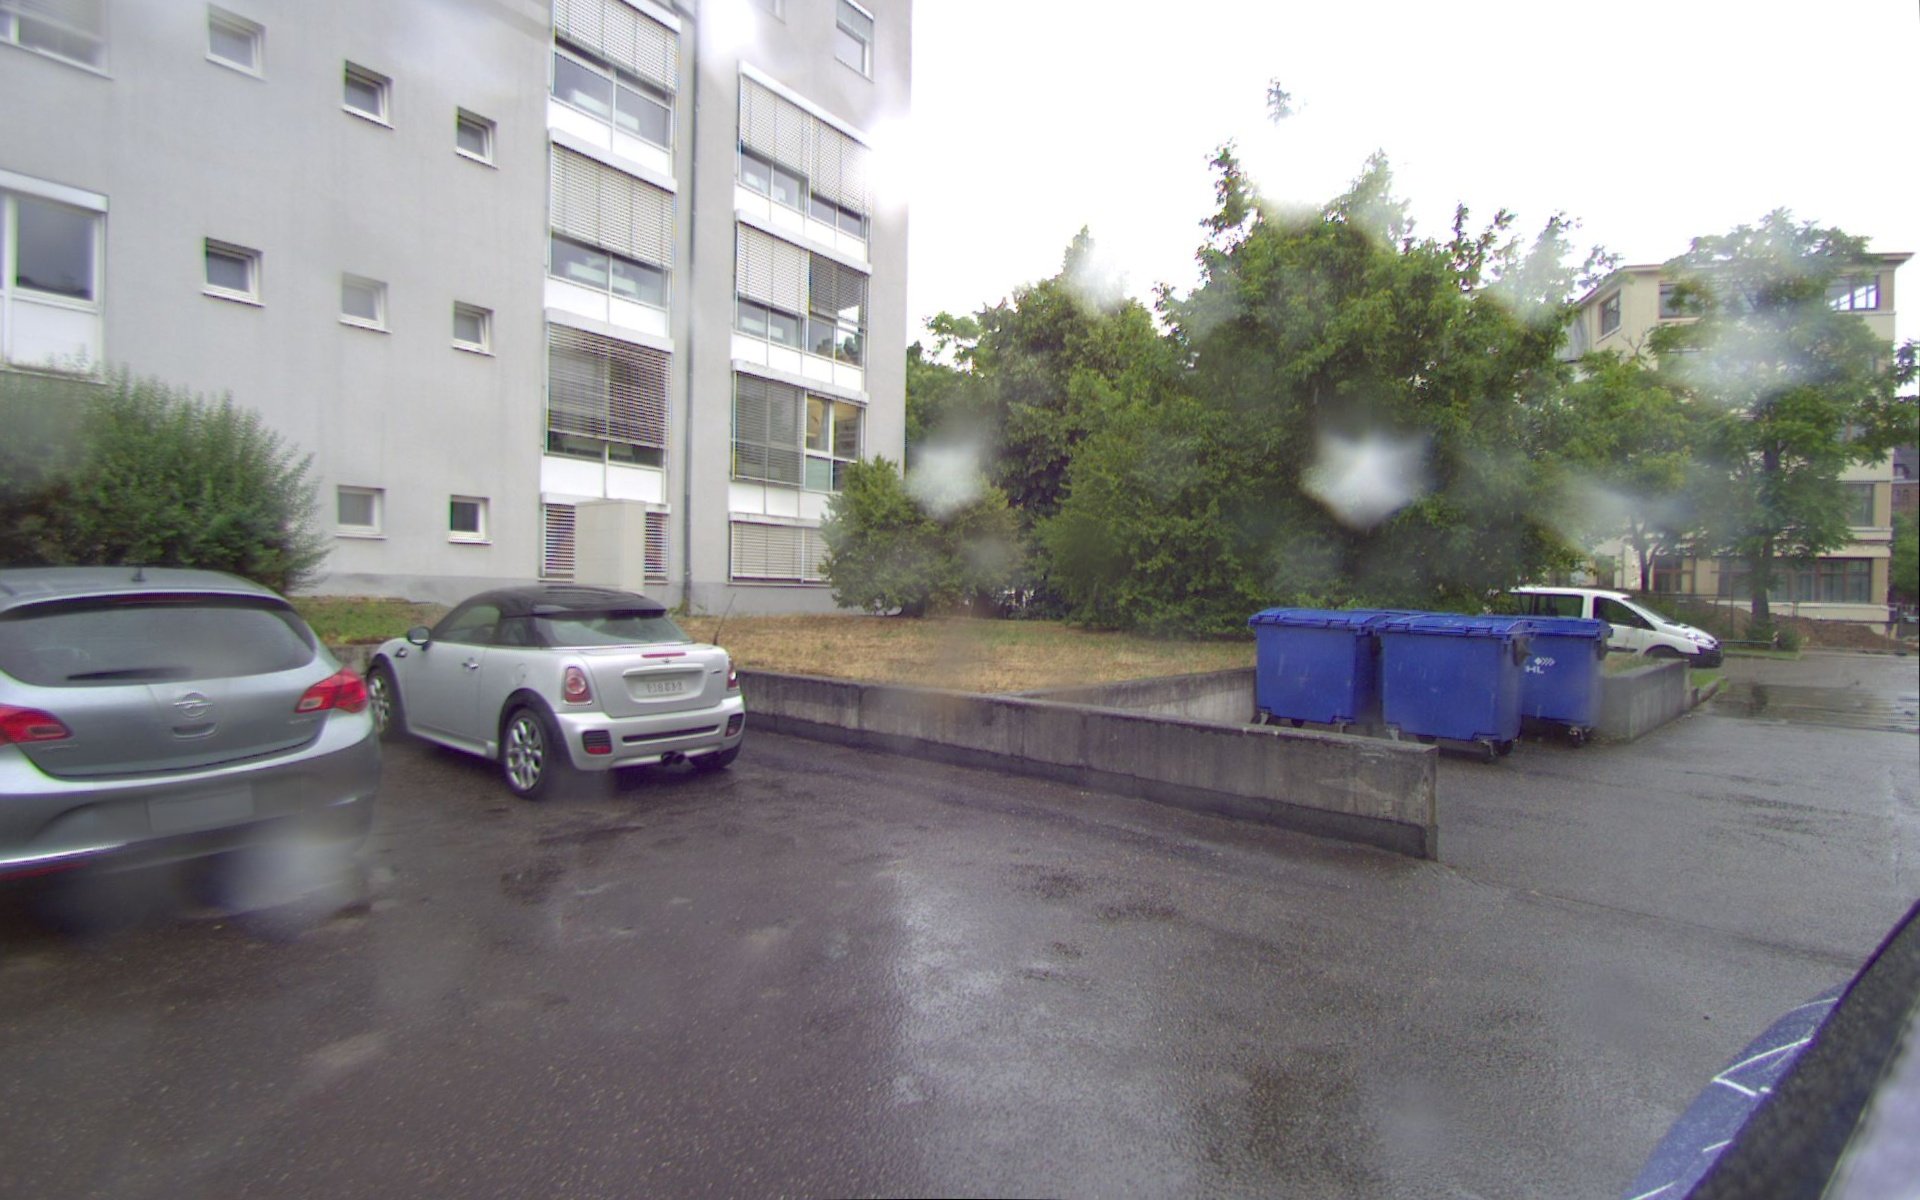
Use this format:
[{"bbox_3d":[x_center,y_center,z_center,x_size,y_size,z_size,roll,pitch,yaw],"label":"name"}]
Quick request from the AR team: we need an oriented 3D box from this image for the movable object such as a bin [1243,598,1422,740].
[{"bbox_3d":[4.061,0.704,10.942,1.228,1.375,1.941,0,-2,41],"label":"movable object such as a bin"}]

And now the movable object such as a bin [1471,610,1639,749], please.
[{"bbox_3d":[6.612,0.826,11.202,1.308,1.375,1.876,0,-2,41],"label":"movable object such as a bin"}]

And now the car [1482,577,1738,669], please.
[{"bbox_3d":[14.920,0.530,23.391,4.681,1.906,2.089,0,-3,44],"label":"car"}]

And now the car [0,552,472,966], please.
[{"bbox_3d":[-4.706,0.548,5.571,4.198,1.508,1.973,1,0,38],"label":"car"}]

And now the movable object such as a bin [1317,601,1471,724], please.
[{"bbox_3d":[5.358,0.732,12.424,1.228,1.375,1.941,0,-2,41],"label":"movable object such as a bin"}]

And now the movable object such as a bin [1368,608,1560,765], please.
[{"bbox_3d":[5.046,0.798,10.070,1.308,1.375,1.876,0,-2,41],"label":"movable object such as a bin"}]

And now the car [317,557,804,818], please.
[{"bbox_3d":[-3.474,0.505,8.445,4.203,1.508,1.971,4,2,40],"label":"car"}]
